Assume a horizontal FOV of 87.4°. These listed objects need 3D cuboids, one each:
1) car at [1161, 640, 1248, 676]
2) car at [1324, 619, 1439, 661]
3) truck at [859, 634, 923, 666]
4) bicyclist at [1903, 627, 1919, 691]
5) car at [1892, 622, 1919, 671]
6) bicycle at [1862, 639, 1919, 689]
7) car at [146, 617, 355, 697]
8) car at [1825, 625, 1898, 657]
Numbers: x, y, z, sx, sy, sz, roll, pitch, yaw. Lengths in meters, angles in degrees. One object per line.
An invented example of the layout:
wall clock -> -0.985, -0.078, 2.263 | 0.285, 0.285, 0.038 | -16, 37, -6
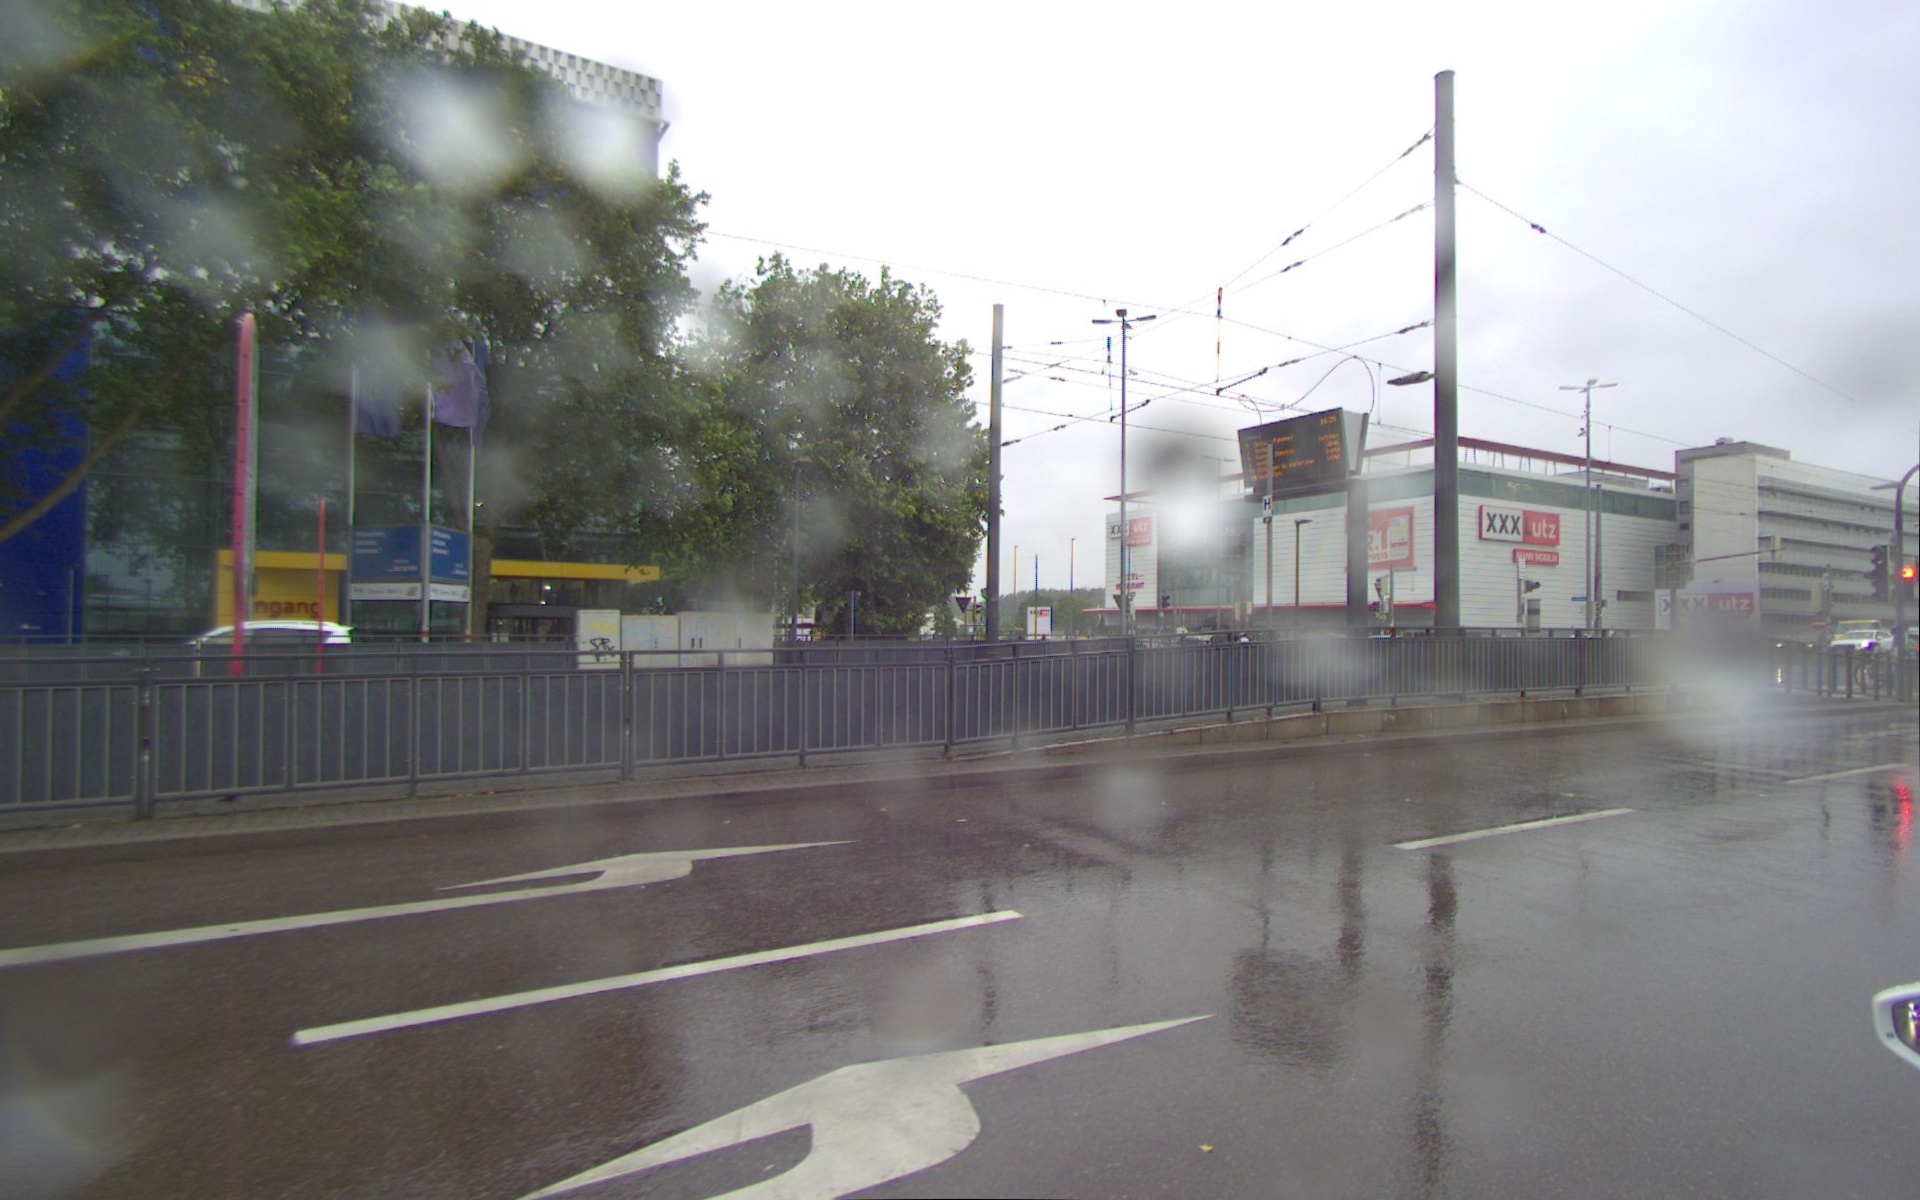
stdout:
car -> 12.897, 3.052, 53.176 | 1.696, 1.521, 4.468 | 3, 0, -33
car -> 18.253, 1.712, 43.639 | 1.807, 1.521, 4.223 | 3, 0, -40
truck -> -6.145, 4.330, 87.907 | 2.445, 2.240, 7.329 | 3, 0, -31
bicyclist -> 23.172, 1.410, 24.092 | 0.593, 1.510, 0.600 | 2, 0, 20
car -> 31.379, 1.529, 30.520 | 4.122, 1.470, 1.715 | 3, 0, 28
bicycle -> 22.932, 1.551, 24.184 | 1.724, 1.153, 0.520 | 2, 0, 18
car -> -14.546, 1.141, 20.726 | 3.398, 1.483, 1.568 | 2, 0, -37
car -> 46.099, 2.086, 51.360 | 3.765, 1.445, 1.702 | 3, 0, -30
